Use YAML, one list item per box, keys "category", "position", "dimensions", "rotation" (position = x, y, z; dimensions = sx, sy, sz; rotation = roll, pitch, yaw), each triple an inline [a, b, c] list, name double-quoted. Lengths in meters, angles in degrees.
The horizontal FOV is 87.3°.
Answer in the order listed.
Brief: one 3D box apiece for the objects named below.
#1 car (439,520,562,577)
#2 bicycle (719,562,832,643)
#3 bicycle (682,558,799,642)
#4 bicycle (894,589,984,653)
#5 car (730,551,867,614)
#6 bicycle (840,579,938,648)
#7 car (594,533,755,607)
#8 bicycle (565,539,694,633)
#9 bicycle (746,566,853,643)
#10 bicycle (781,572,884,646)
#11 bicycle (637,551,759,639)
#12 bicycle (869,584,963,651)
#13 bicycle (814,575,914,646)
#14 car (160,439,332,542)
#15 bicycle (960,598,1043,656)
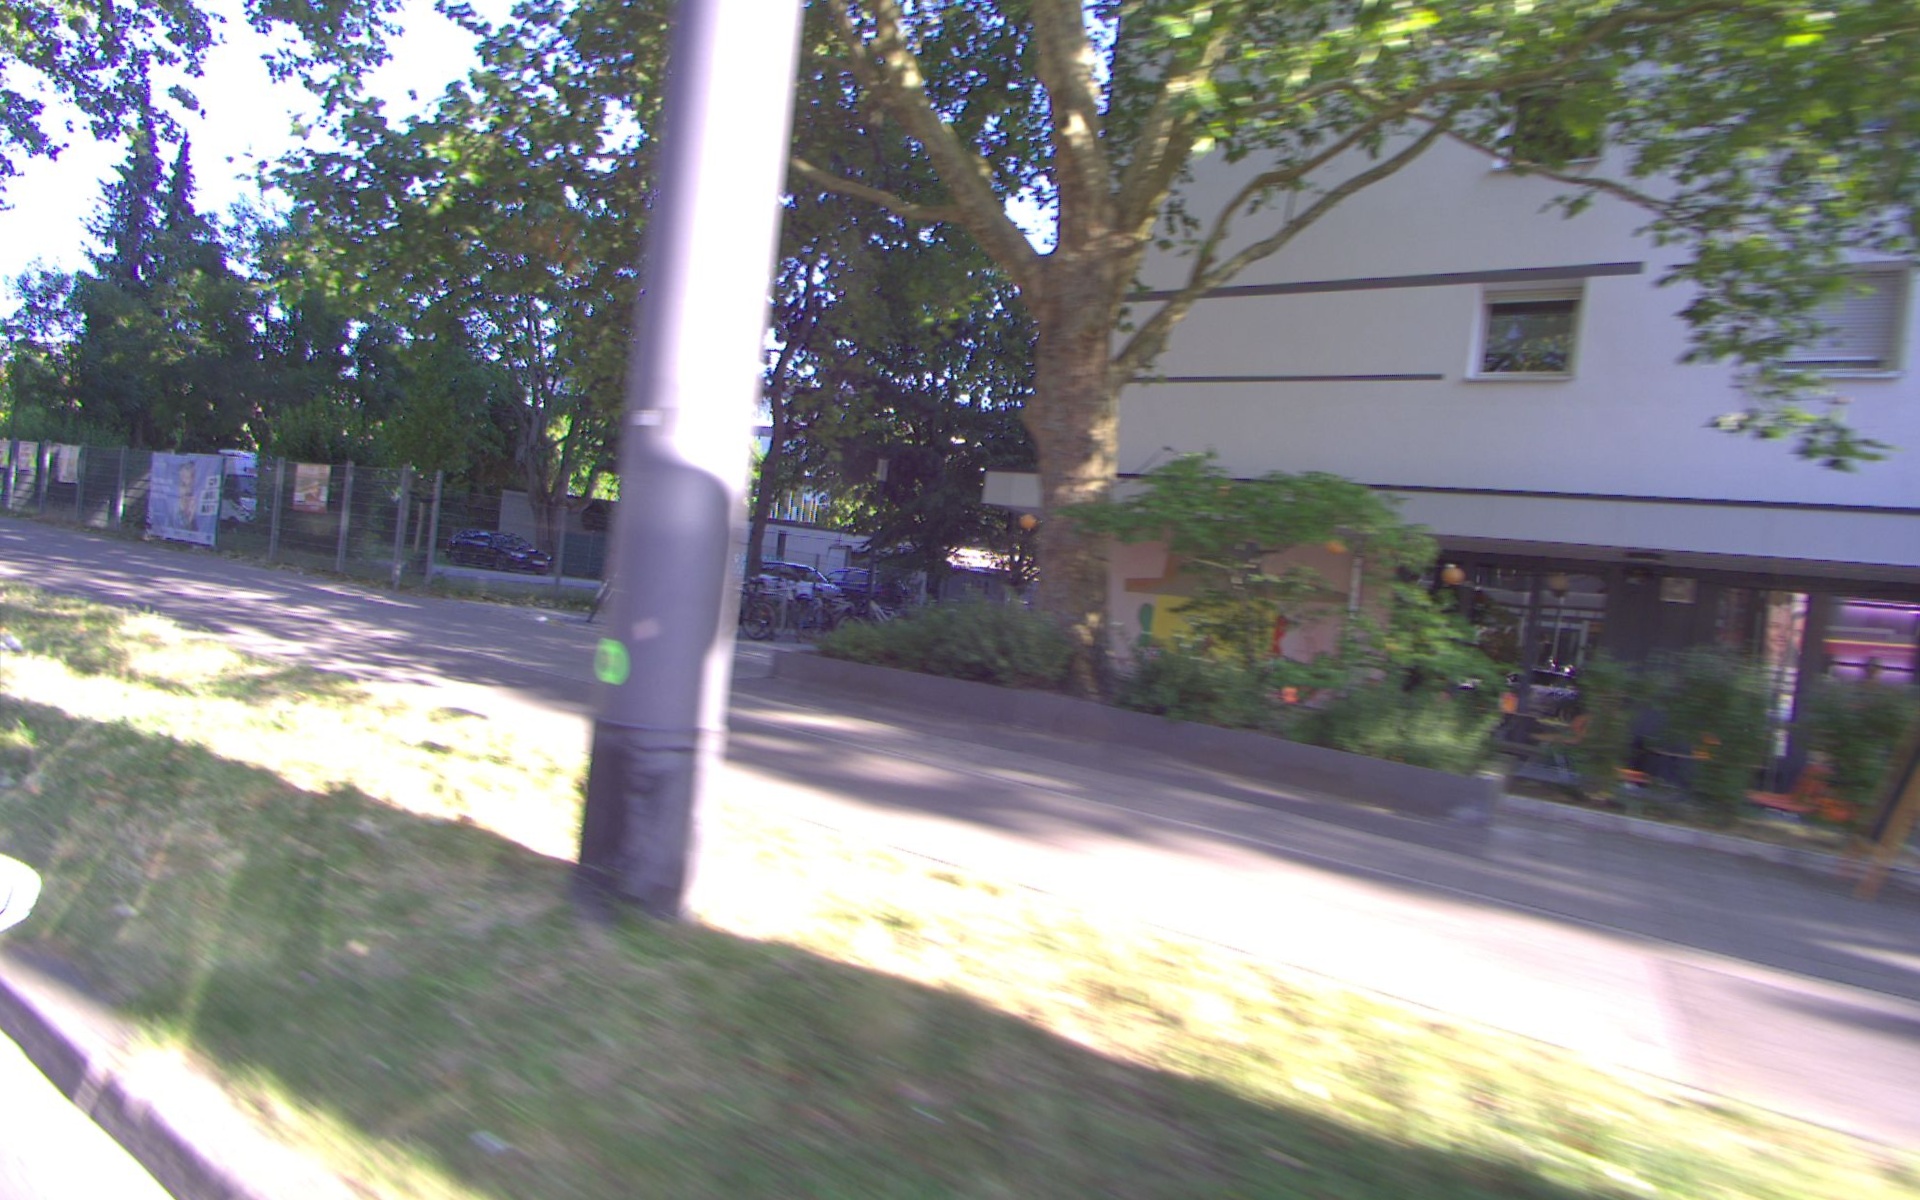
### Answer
- category: "car"
  position: [-16.738, -1.884, 36.668]
  dimensions: [3.931, 1.470, 1.999]
  rotation: [7, -1, 28]
- category: "bicycle"
  position: [-3.309, 0.043, 18.019]
  dimensions: [1.790, 1.191, 0.790]
  rotation: [7, -1, 32]
- category: "bicycle"
  position: [-3.782, -0.008, 17.271]
  dimensions: [1.790, 1.191, 0.790]
  rotation: [7, -1, 32]
- category: "bicycle"
  position: [-0.484, 0.475, 22.856]
  dimensions: [1.790, 1.191, 0.790]
  rotation: [7, -1, 32]
- category: "car"
  position: [-5.343, -0.573, 33.176]
  dimensions: [3.931, 1.470, 1.999]
  rotation: [7, -1, 28]
- category: "bicycle"
  position: [-1.500, 0.284, 21.101]
  dimensions: [1.790, 1.191, 0.790]
  rotation: [7, -1, 32]
- category: "car"
  position: [-8.001, -0.847, 28.204]
  dimensions: [3.931, 1.470, 1.999]
  rotation: [7, -1, 28]
- category: "bicycle"
  position: [-5.088, -0.226, 15.473]
  dimensions: [1.790, 1.191, 0.790]
  rotation: [7, -1, 32]
- category: "bicycle"
  position: [-3.033, 0.083, 18.970]
  dimensions: [1.790, 1.191, 0.790]
  rotation: [7, -1, 32]
- category: "bicycle"
  position: [-2.510, 0.178, 19.760]
  dimensions: [1.790, 1.191, 0.790]
  rotation: [7, -1, 32]
- category: "bicycle"
  position: [-4.304, -0.088, 16.479]
  dimensions: [1.790, 1.191, 0.790]
  rotation: [7, -1, 32]
- category: "bicycle"
  position: [-0.974, 0.382, 21.948]
  dimensions: [1.790, 1.191, 0.790]
  rotation: [7, -1, 32]
- category: "bicycle"
  position: [-1.955, 0.204, 20.395]
  dimensions: [1.790, 1.191, 0.790]
  rotation: [7, -1, 32]
- category: "car"
  position: [-21.798, -3.368, 30.586]
  dimensions: [6.244, 2.529, 1.996]
  rotation: [7, -1, 34]
- category: "bicycle"
  position: [1.044, 0.682, 25.212]
  dimensions: [1.790, 1.191, 0.790]
  rotation: [7, -1, 32]
